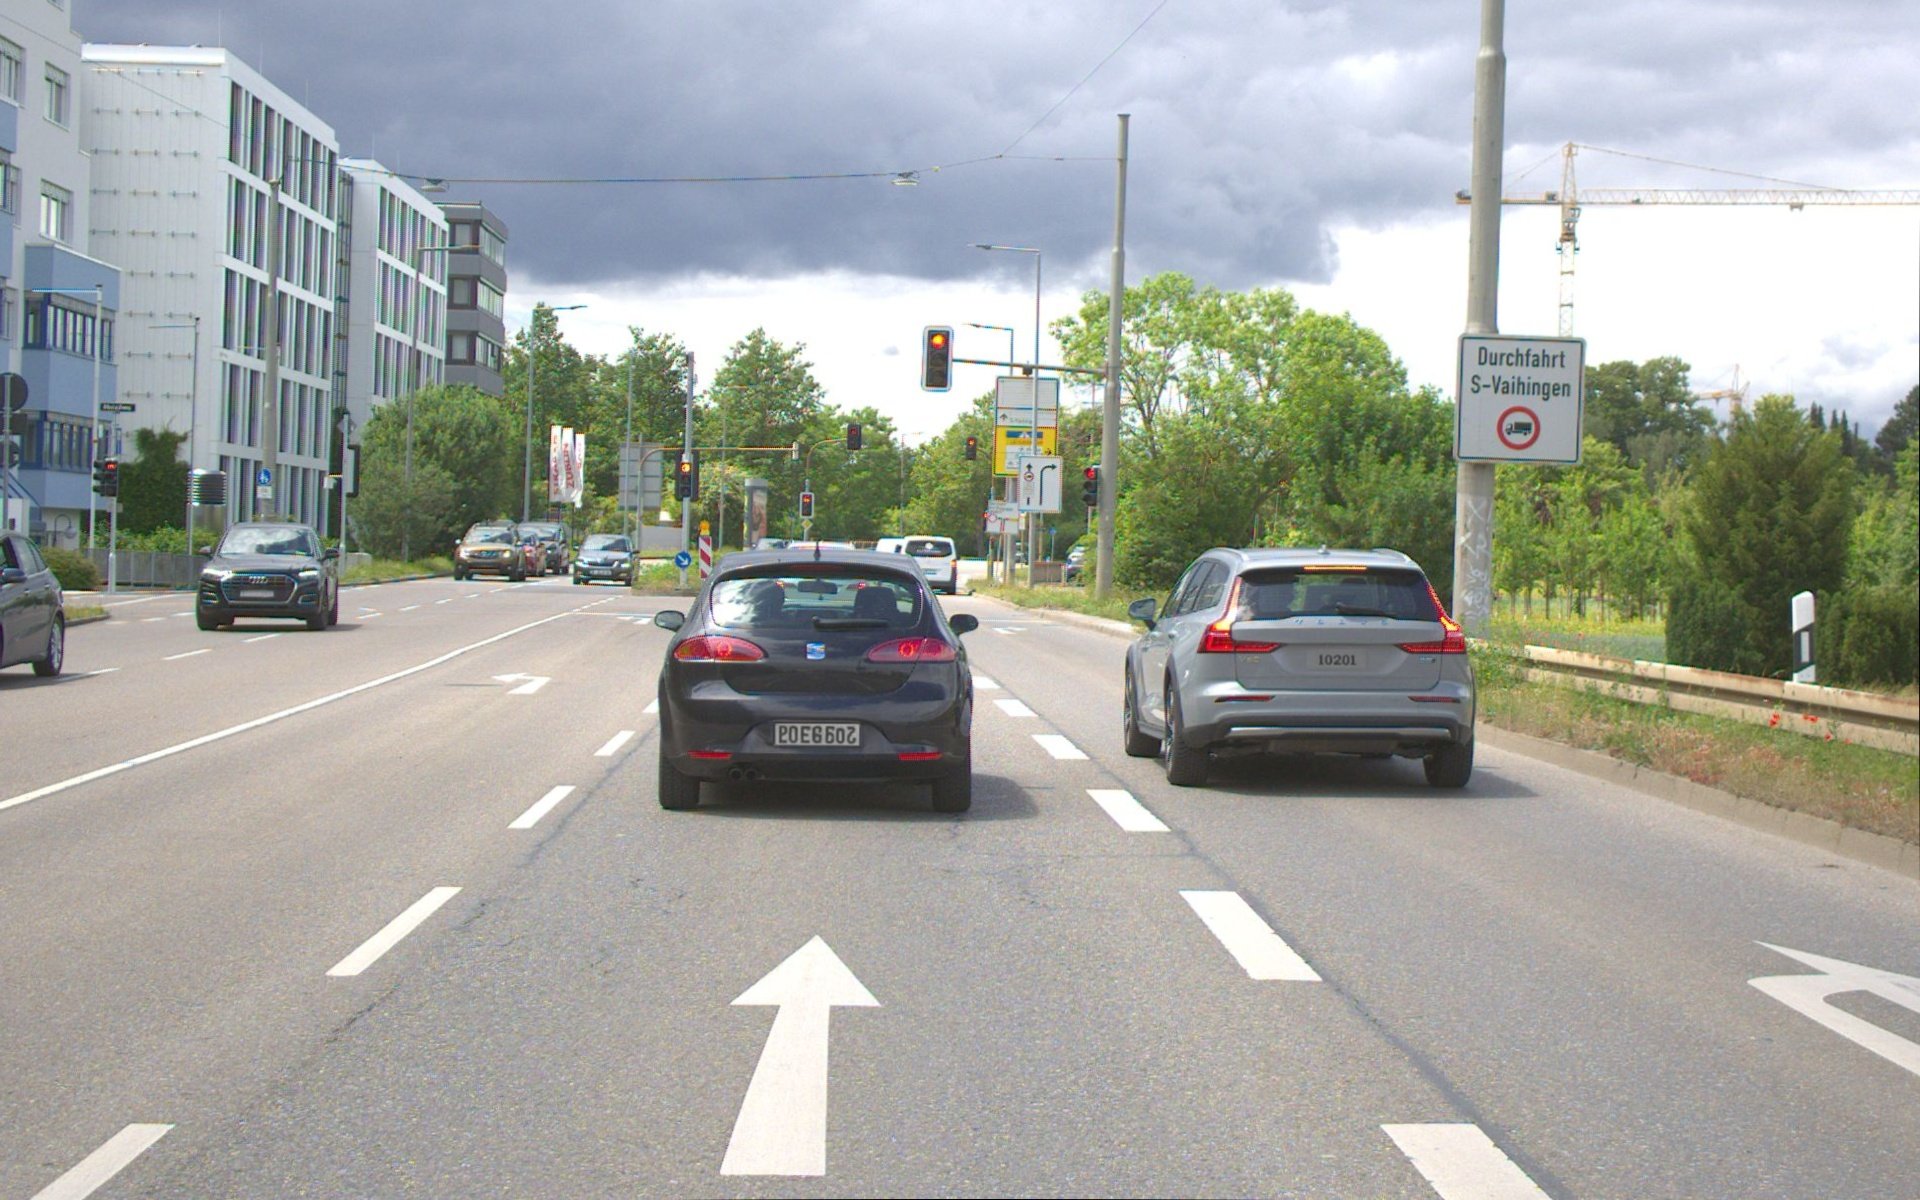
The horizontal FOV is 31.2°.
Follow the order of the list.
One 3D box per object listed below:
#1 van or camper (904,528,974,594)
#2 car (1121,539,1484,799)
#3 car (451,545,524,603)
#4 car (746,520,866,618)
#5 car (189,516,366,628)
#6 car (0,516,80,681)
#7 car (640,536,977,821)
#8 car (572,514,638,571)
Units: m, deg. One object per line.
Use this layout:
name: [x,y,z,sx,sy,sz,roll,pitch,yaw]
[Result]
van or camper: [-0.709,-1.254,111.404,1.899,1.919,4.000,2,-2,-5]
car: [2.110,0.389,22.347,1.958,1.520,4.340,0,0,1]
car: [-13.674,-0.771,99.674,1.751,1.625,4.001,0,1,-3]
car: [-2.767,-0.583,60.983,1.983,1.584,4.227,2,2,-4]
car: [-10.423,-0.433,52.816,1.867,1.609,4.572,1,0,-1]
car: [-10.176,0.004,34.330,1.796,1.579,4.314,-2,1,-3]
car: [-0.789,0.400,20.140,1.748,1.479,4.000,1,0,1]
car: [-10.156,-1.659,98.473,1.668,1.519,4.009,0,2,-3]
